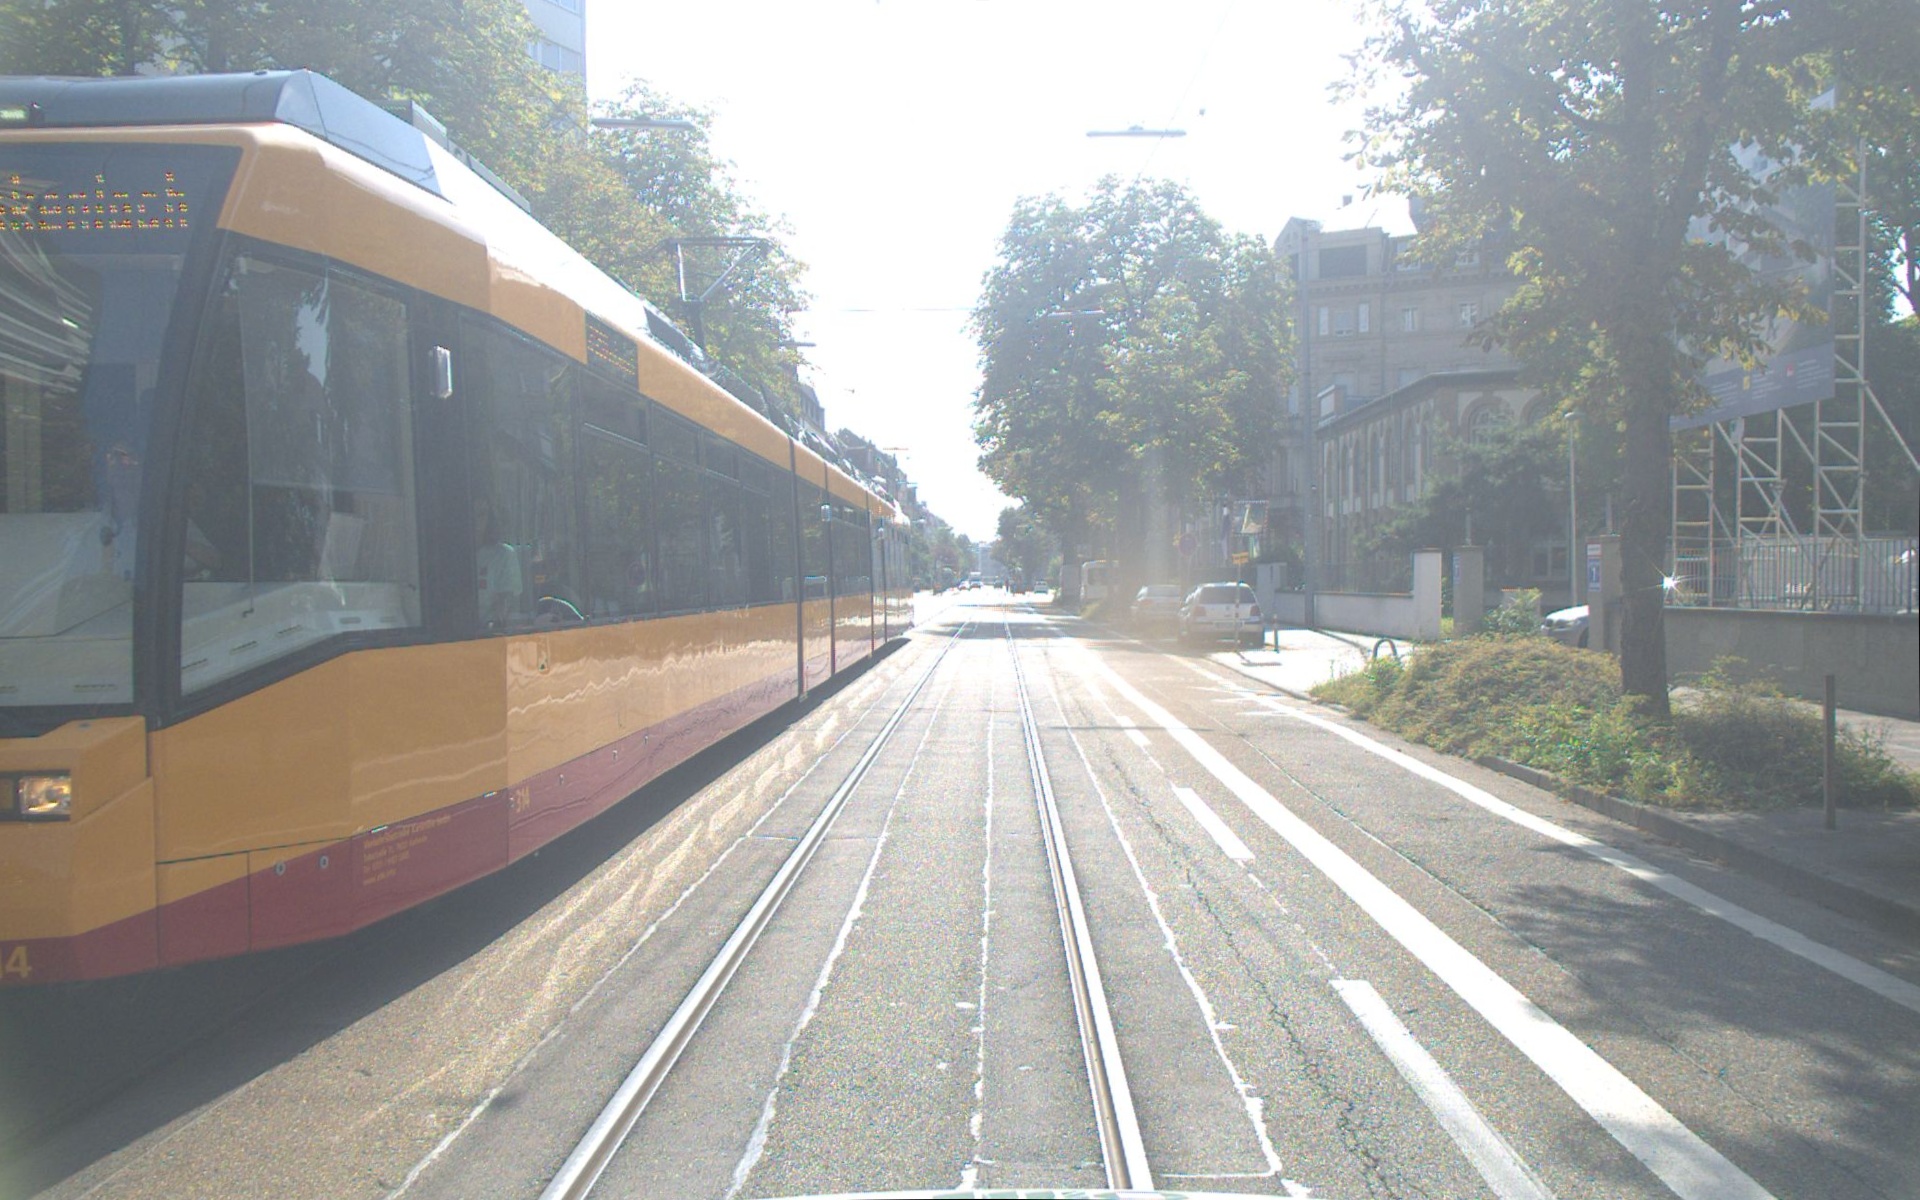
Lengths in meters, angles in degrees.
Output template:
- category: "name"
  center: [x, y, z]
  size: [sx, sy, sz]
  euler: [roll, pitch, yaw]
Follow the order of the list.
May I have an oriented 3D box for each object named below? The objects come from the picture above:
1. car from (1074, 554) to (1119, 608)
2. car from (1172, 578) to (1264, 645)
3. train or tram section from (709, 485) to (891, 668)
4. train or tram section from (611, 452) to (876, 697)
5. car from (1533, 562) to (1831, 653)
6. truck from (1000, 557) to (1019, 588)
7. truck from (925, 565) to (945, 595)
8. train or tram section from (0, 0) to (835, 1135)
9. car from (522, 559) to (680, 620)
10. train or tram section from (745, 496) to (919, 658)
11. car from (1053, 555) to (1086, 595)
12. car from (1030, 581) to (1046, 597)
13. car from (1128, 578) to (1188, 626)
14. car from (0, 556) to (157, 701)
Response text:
- category: "car"
  center: [6.525, -0.903, 79.650]
  size: [1.963, 2.534, 4.478]
  euler: [0, 1, 2]
- category: "car"
  center: [5.847, 0.220, 37.754]
  size: [1.654, 1.443, 3.635]
  euler: [0, 1, 2]
- category: "train or tram section"
  center: [-2.631, -0.397, 28.163]
  size: [2.650, 2.906, 3.650]
  euler: [0, 1, 1]
- category: "train or tram section"
  center: [-2.749, -0.347, 23.036]
  size: [2.672, 2.899, 6.545]
  euler: [0, 1, 1]
- category: "car"
  center: [12.156, 0.113, 28.097]
  size: [4.326, 1.434, 1.808]
  euler: [-1, 1, 9]
- category: "truck"
  center: [5.026, -2.793, 168.305]
  size: [1.823, 3.185, 4.352]
  euler: [0, 1, -1]
- category: "truck"
  center: [-2.519, -2.045, 168.480]
  size: [1.952, 3.027, 4.571]
  euler: [0, 1, 1]
- category: "train or tram section"
  center: [-3.009, -0.193, 11.986]
  size: [2.672, 2.945, 15.458]
  euler: [0, 1, 1]
- category: "car"
  center: [-9.007, -0.290, 41.727]
  size: [1.542, 1.468, 3.742]
  euler: [0, 1, 41]
- category: "train or tram section"
  center: [-2.459, -0.484, 35.288]
  size: [2.625, 2.911, 10.546]
  euler: [0, 1, 1]
- category: "car"
  center: [7.030, -1.622, 106.641]
  size: [1.963, 2.518, 4.478]
  euler: [0, 1, 2]
- category: "car"
  center: [9.387, -1.331, 199.105]
  size: [1.952, 1.870, 4.002]
  euler: [0, 1, 2]
- category: "car"
  center: [6.128, 0.039, 51.518]
  size: [1.561, 1.443, 3.635]
  euler: [0, 1, 2]
- category: "car"
  center: [-10.582, 0.284, 17.166]
  size: [3.762, 1.467, 1.668]
  euler: [-1, 1, -41]
